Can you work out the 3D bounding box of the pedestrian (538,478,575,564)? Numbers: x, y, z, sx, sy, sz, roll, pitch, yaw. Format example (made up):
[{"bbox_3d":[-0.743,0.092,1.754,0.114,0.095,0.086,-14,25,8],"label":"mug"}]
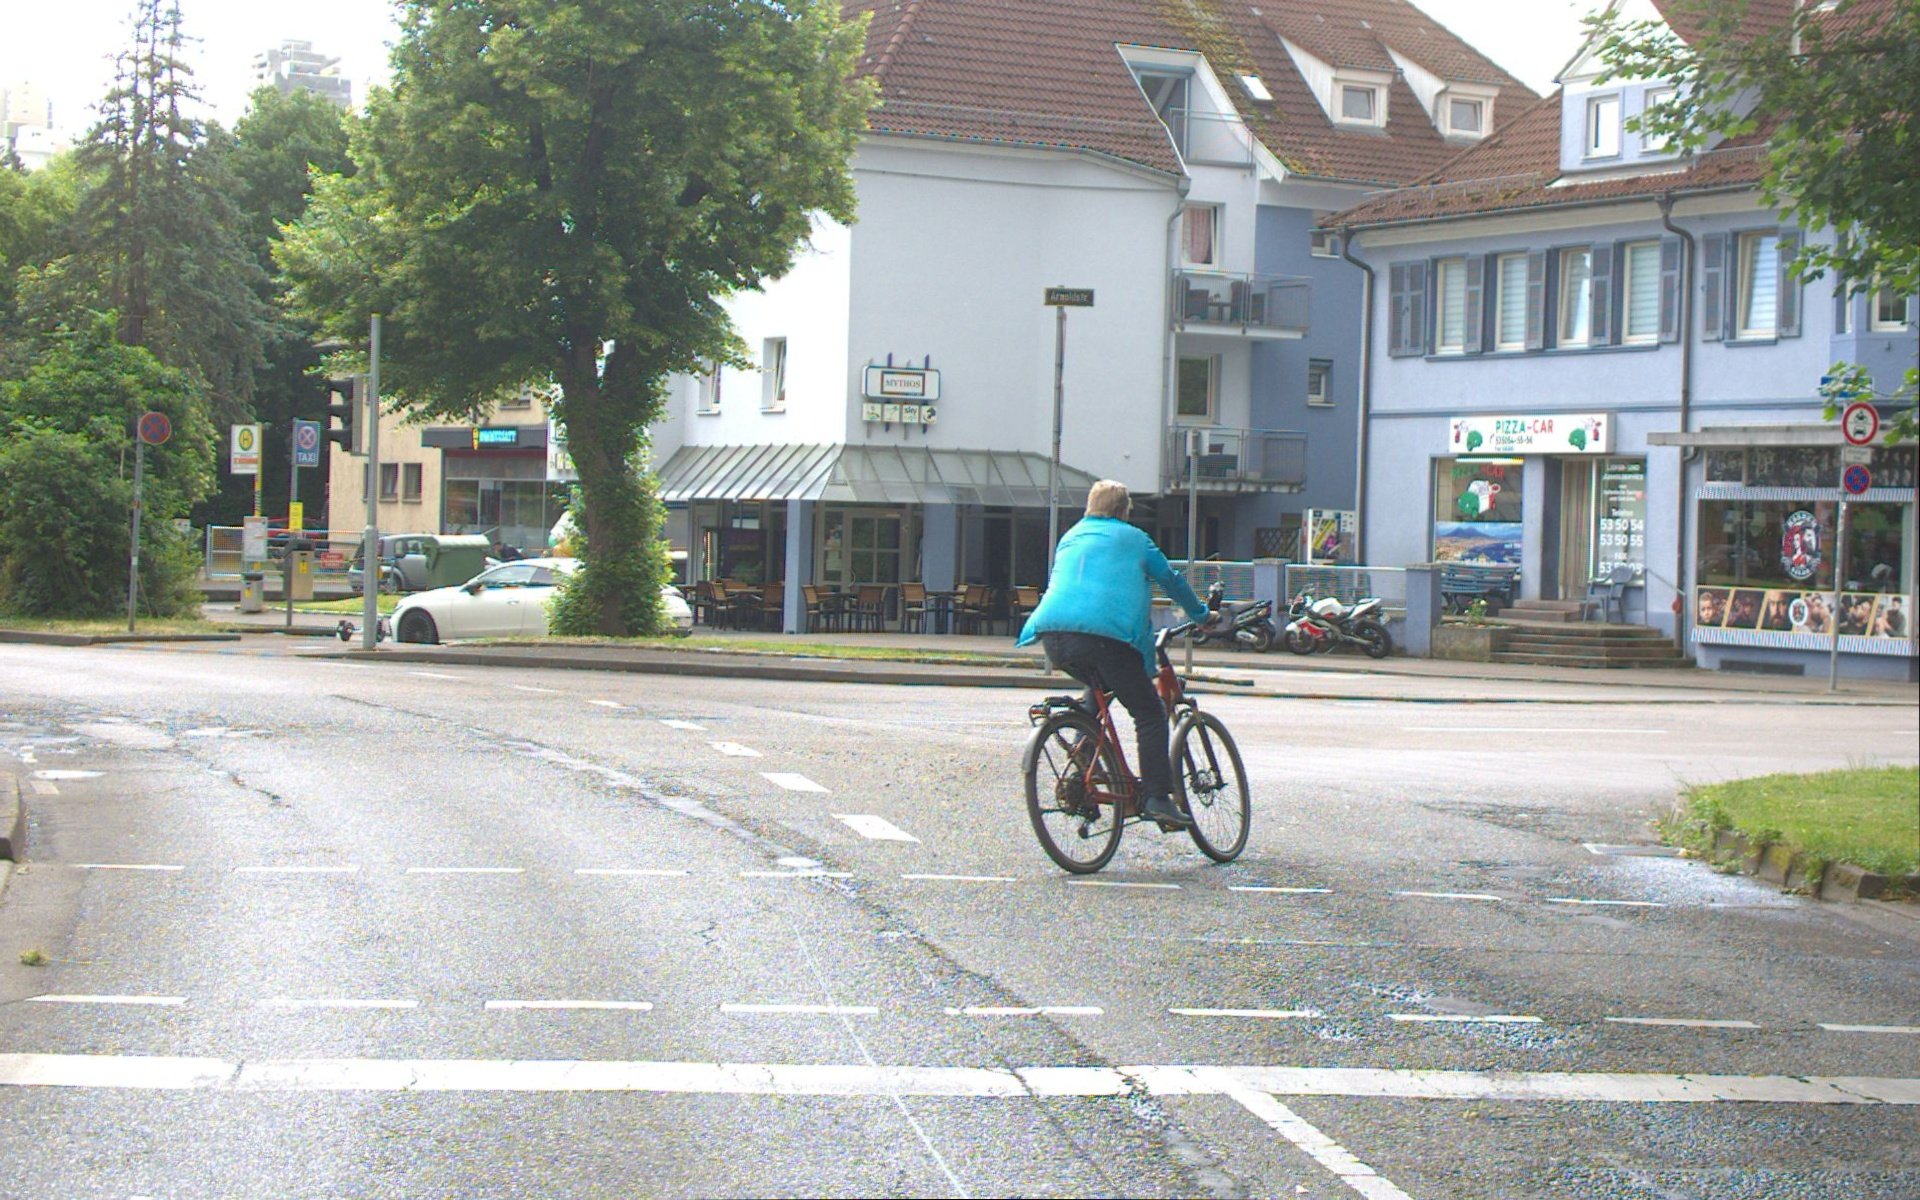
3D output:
[{"bbox_3d":[-7.423,-1.449,63.213,0.543,1.554,0.468,1,0,11],"label":"pedestrian"}]

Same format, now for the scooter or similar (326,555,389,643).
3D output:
[{"bbox_3d":[-8.156,-0.019,46.594,0.442,1.171,1.437,1,1,6],"label":"scooter or similar"}]

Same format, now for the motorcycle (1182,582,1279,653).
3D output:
[{"bbox_3d":[4.300,0.274,54.678,1.457,1.085,0.523,1,1,33],"label":"motorcycle"}]

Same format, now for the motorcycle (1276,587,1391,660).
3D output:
[{"bbox_3d":[5.753,0.355,52.972,1.628,1.085,0.626,1,1,29],"label":"motorcycle"}]

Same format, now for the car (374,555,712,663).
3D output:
[{"bbox_3d":[-6.072,0.108,49.836,4.708,1.405,1.899,2,1,32],"label":"car"}]

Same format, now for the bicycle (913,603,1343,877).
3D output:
[{"bbox_3d":[0.791,0.599,15.675,0.876,1.145,1.948,2,1,44],"label":"bicycle"}]

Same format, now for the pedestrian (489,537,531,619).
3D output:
[{"bbox_3d":[-11.077,-0.548,84.602,0.837,2.007,1.056,1,1,-17],"label":"pedestrian"}]

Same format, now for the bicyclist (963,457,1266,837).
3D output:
[{"bbox_3d":[0.701,0.194,15.574,0.917,1.646,0.986,2,1,44],"label":"bicyclist"}]

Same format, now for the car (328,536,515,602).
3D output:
[{"bbox_3d":[-12.444,-0.716,79.449,3.936,1.437,1.753,1,1,-22],"label":"car"}]
